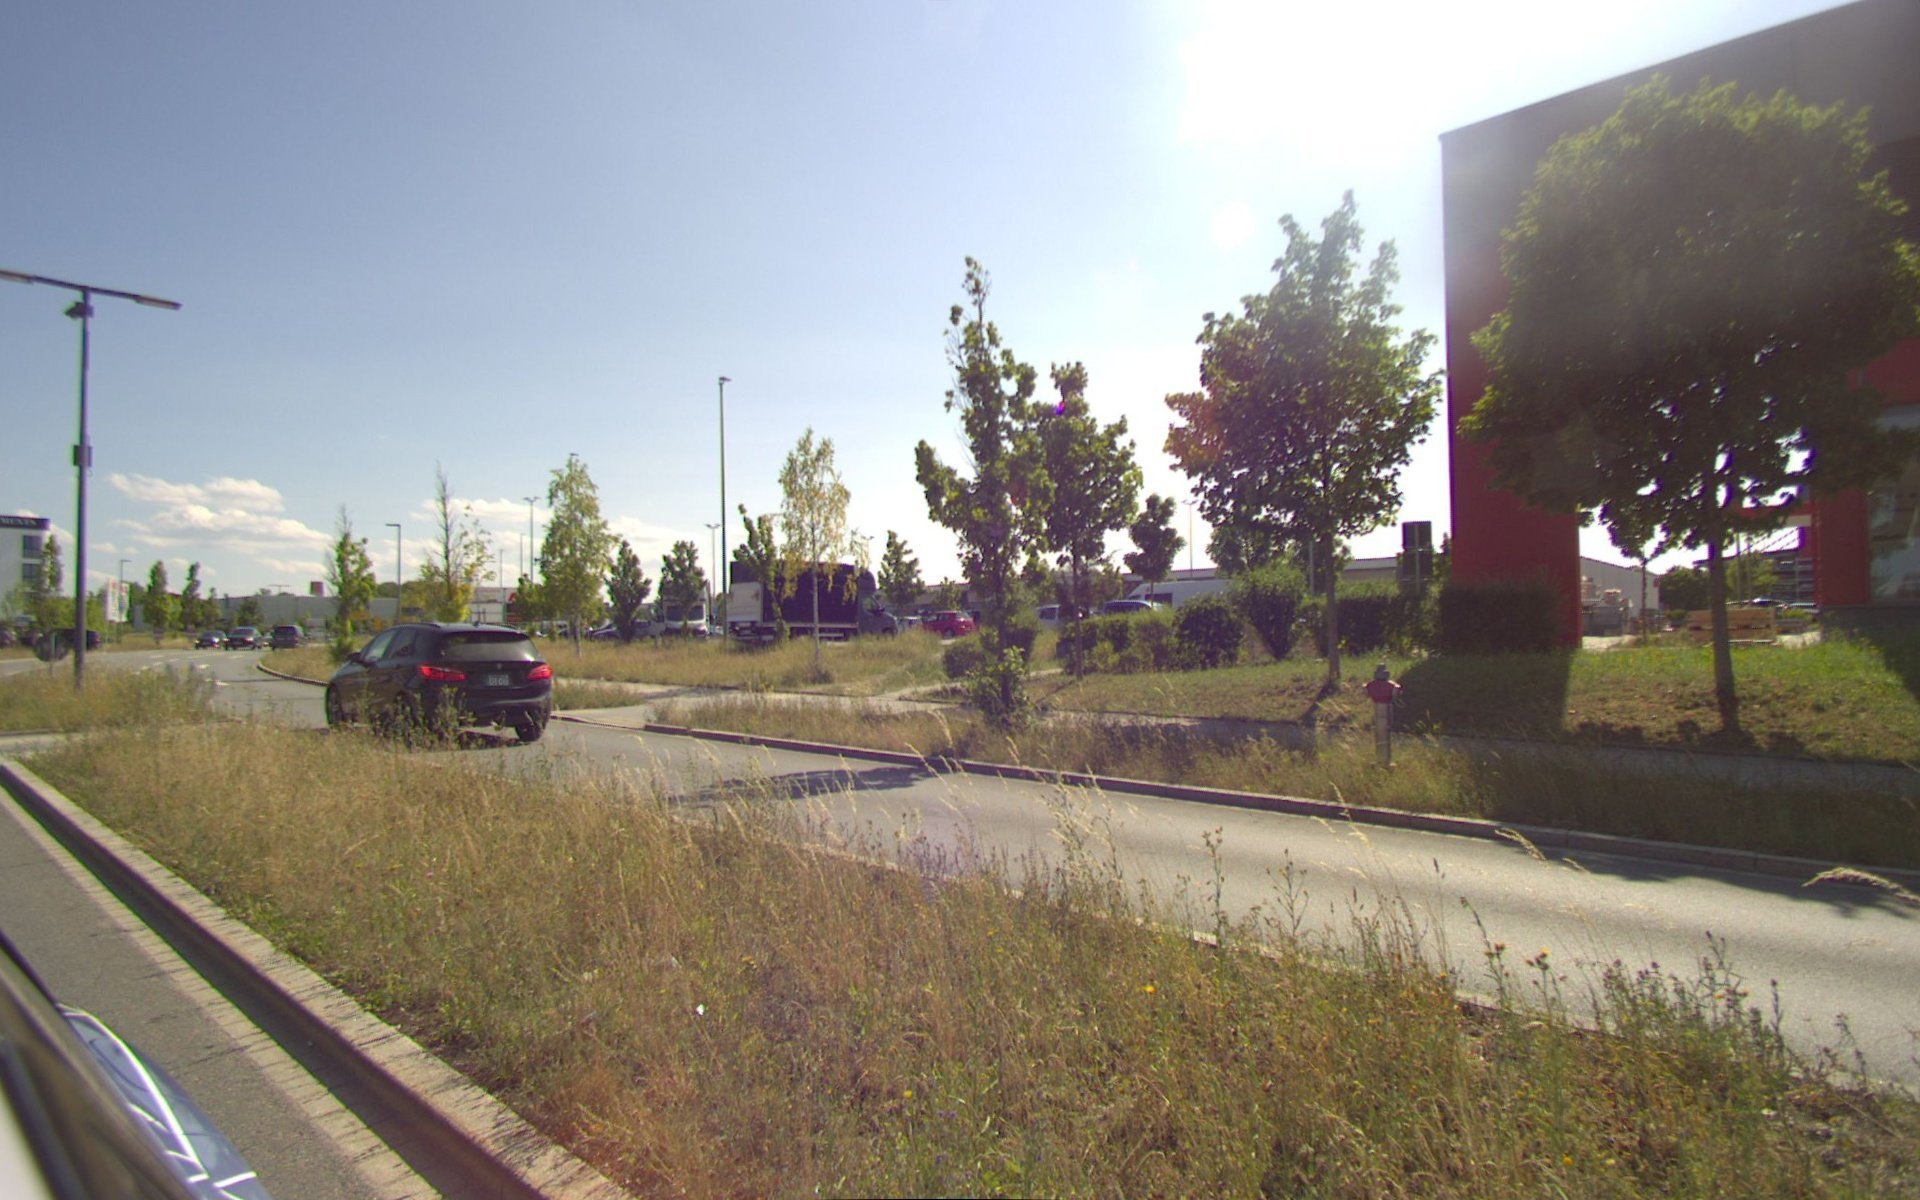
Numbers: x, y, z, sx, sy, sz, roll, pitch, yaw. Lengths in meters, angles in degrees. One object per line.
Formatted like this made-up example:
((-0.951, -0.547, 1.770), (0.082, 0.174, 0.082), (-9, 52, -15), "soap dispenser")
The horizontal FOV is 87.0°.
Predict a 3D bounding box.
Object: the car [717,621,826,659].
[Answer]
((-8.077, 1.680, 43.505), (4.315, 1.564, 1.840), (1, -3, -43), "car")

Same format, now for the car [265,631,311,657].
((-48.057, 3.175, 72.455), (1.923, 1.808, 4.441), (2, -3, -24), "car")

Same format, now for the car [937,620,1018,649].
((0.937, 1.900, 55.863), (4.380, 1.574, 1.813), (-2, -2, 42), "car")

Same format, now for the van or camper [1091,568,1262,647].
((9.535, 0.423, 45.248), (7.235, 3.296, 2.403), (-2, -3, 43), "van or camper")

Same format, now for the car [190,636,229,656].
((-60.003, 3.642, 80.929), (1.756, 1.505, 4.013), (0, -2, -26), "car")

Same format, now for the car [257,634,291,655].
((-59.633, 3.916, 88.036), (1.923, 1.740, 4.440), (2, -3, -27), "car")

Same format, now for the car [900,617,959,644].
((-2.403, 2.358, 77.659), (4.635, 2.040, 1.811), (-2, -3, 44), "car")

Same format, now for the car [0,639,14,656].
((-83.362, 4.118, 87.565), (1.492, 1.418, 4.011), (1, -3, -32), "car")

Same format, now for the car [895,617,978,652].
((-1.309, 1.860, 53.969), (4.380, 1.787, 1.813), (-2, -2, 42), "car")

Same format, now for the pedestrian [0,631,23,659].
((-57.710, 2.725, 61.570), (0.789, 1.642, 0.807), (0, -2, -26), "pedestrian")

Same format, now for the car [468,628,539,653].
((-33.899, 3.017, 75.215), (4.694, 1.656, 2.122), (-1, -3, -24), "car")

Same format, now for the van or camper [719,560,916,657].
((-5.500, 0.403, 40.099), (7.599, 3.495, 2.559), (1, -3, -42), "van or camper")

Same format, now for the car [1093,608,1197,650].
((7.761, 1.241, 42.667), (4.081, 1.683, 1.644), (-2, -2, 41), "car")

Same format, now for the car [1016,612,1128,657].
((4.265, 1.329, 38.978), (4.081, 1.627, 1.644), (-2, -2, 41), "car")

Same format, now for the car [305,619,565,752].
((-7.328, 1.113, 13.955), (4.239, 1.555, 1.740), (-2, -5, 42), "car")

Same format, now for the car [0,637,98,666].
((-59.023, 3.317, 65.661), (4.389, 1.692, 1.908), (0, -3, -27), "car")

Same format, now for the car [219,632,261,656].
((-52.590, 3.198, 73.956), (1.727, 1.700, 4.395), (1, -3, -25), "car")

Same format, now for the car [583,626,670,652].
((-18.977, 2.219, 57.606), (4.363, 1.394, 1.981), (1, -2, -32), "car")

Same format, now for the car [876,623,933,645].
((-4.175, 2.548, 75.612), (4.383, 1.594, 1.811), (-2, -3, 44), "car")

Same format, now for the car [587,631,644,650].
((-38.293, 4.489, 112.543), (5.606, 1.980, 2.005), (1, -3, -36), "car")

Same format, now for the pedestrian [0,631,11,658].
((-58.733, 2.730, 61.881), (0.797, 1.641, 0.869), (0, -2, -26), "pedestrian")

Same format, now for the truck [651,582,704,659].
((-13.871, 1.043, 50.116), (2.285, 3.491, 7.513), (0, -2, -14), "truck")

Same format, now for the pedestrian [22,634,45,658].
((-57.373, 2.845, 62.679), (0.781, 1.481, 0.952), (0, -2, -26), "pedestrian")
